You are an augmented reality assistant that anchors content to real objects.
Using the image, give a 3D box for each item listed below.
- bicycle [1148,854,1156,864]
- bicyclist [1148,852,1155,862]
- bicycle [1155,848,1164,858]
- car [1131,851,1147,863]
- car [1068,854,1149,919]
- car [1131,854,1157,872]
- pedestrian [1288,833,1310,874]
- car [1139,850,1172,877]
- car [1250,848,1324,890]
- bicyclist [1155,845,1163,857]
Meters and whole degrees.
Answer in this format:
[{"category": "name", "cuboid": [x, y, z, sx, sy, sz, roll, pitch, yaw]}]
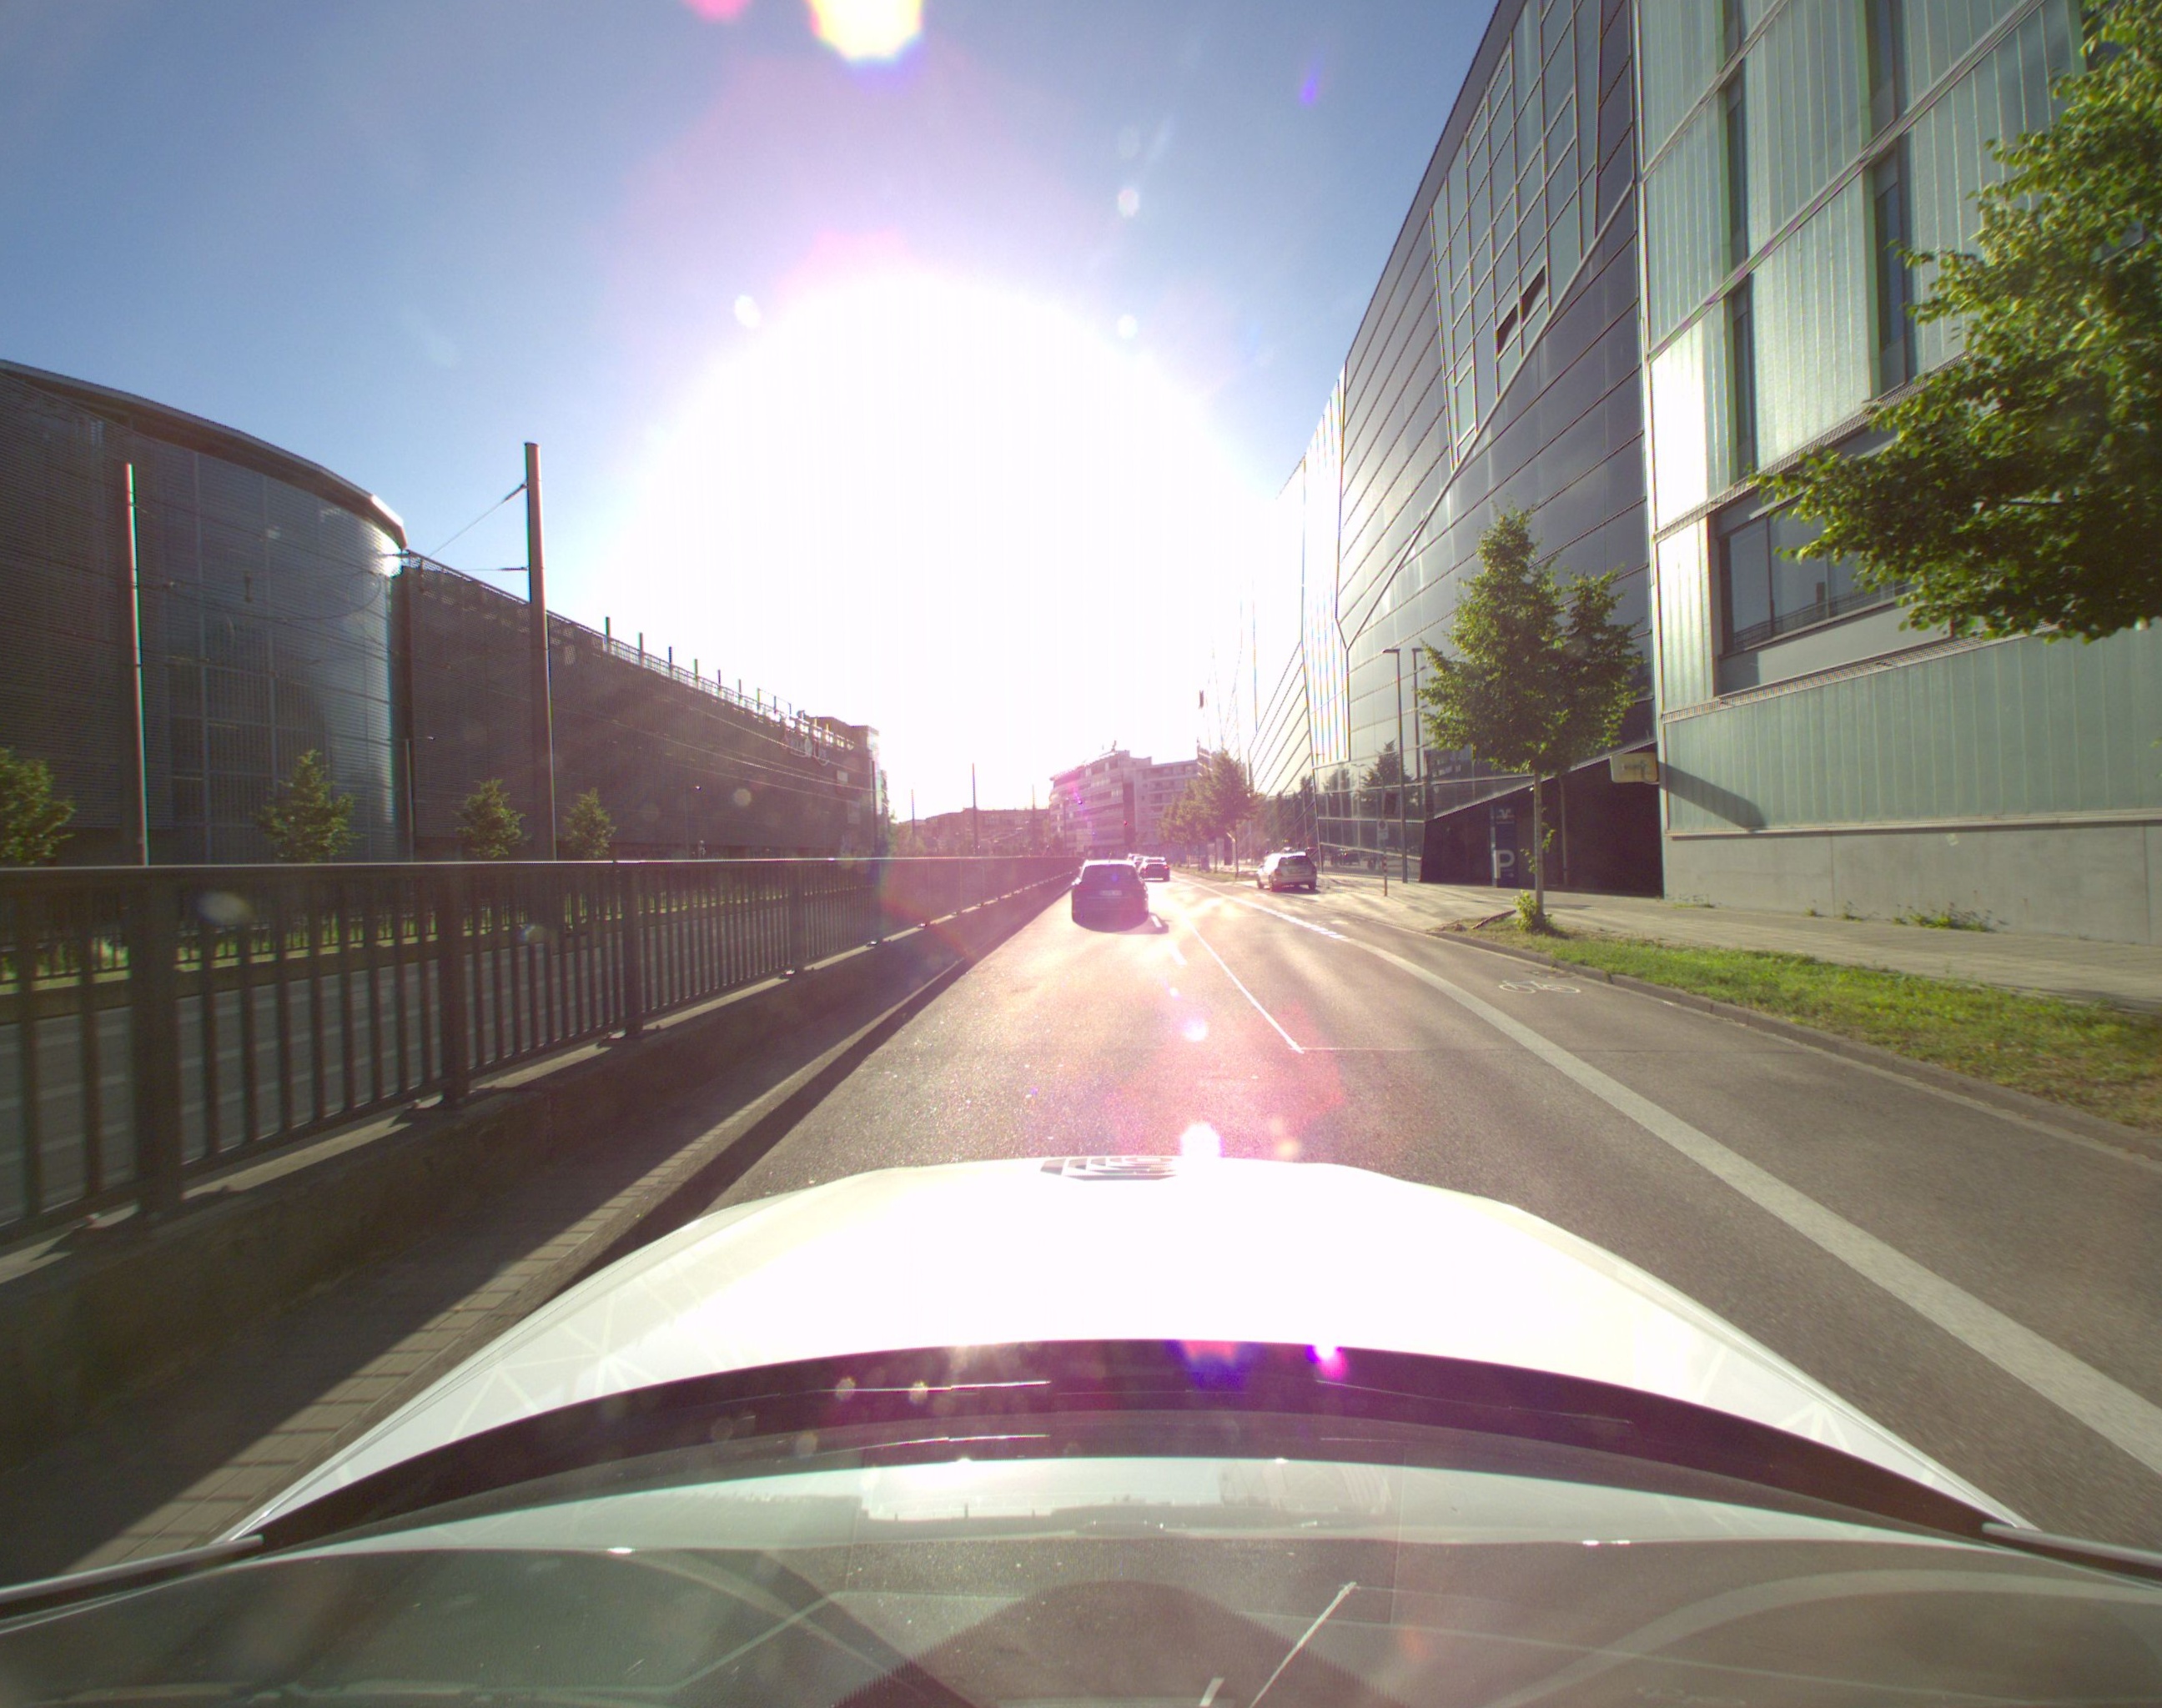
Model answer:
[{"category": "bicycle", "cuboid": [8.820, 0.673, 101.206, 0.721, 1.184, 2.094, -3, 0, 2]}, {"category": "bicyclist", "cuboid": [8.740, 0.375, 101.200, 0.721, 1.269, 1.036, -3, 0, 2]}, {"category": "bicycle", "cuboid": [9.593, -0.066, 99.687, 0.723, 1.184, 2.090, -3, 0, -4]}, {"category": "car", "cuboid": [7.565, 0.422, 105.980, 1.985, 1.465, 4.005, -1, 1, 4]}, {"category": "car", "cuboid": [0.705, 0.756, 21.018, 1.805, 1.427, 4.691, -2, 0, 2]}, {"category": "car", "cuboid": [5.445, 0.764, 70.410, 1.986, 1.465, 4.001, -1, 1, 1]}, {"category": "pedestrian", "cuboid": [10.869, -0.024, 40.678, 0.833, 2.013, 0.690, -3, 0, 3]}, {"category": "car", "cuboid": [4.423, 0.519, 48.933, 1.845, 1.546, 4.004, -1, 0, 3]}, {"category": "car", "cuboid": [8.323, 0.544, 33.271, 1.846, 1.481, 4.856, -4, 0, 2]}, {"category": "bicyclist", "cuboid": [9.589, -0.392, 99.709, 0.723, 1.418, 0.890, -3, 0, -5]}]
